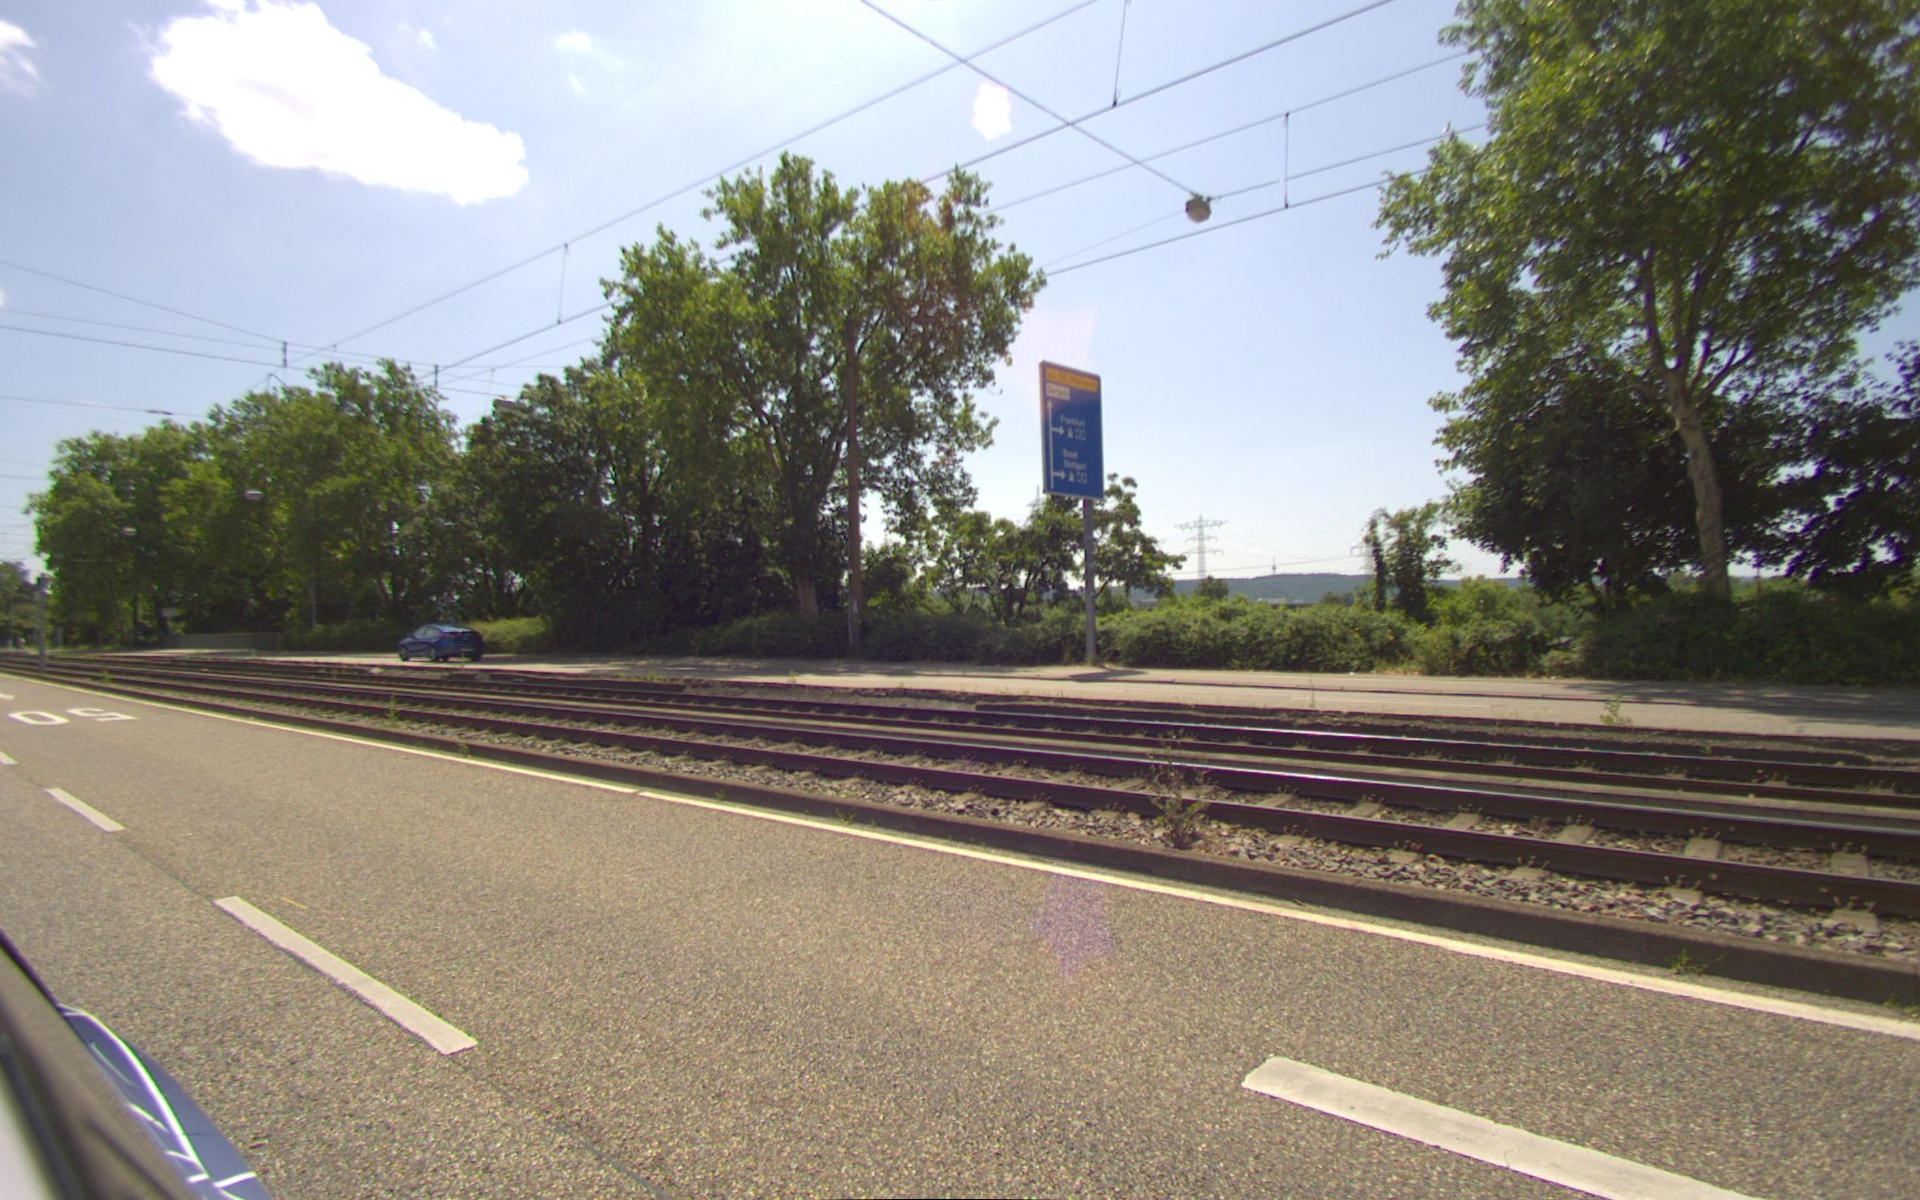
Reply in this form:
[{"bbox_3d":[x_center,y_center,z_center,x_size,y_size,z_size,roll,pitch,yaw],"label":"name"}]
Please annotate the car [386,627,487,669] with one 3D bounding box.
[{"bbox_3d":[-20.426,1.875,39.414,4.731,1.515,1.781,-2,-4,39],"label":"car"}]
